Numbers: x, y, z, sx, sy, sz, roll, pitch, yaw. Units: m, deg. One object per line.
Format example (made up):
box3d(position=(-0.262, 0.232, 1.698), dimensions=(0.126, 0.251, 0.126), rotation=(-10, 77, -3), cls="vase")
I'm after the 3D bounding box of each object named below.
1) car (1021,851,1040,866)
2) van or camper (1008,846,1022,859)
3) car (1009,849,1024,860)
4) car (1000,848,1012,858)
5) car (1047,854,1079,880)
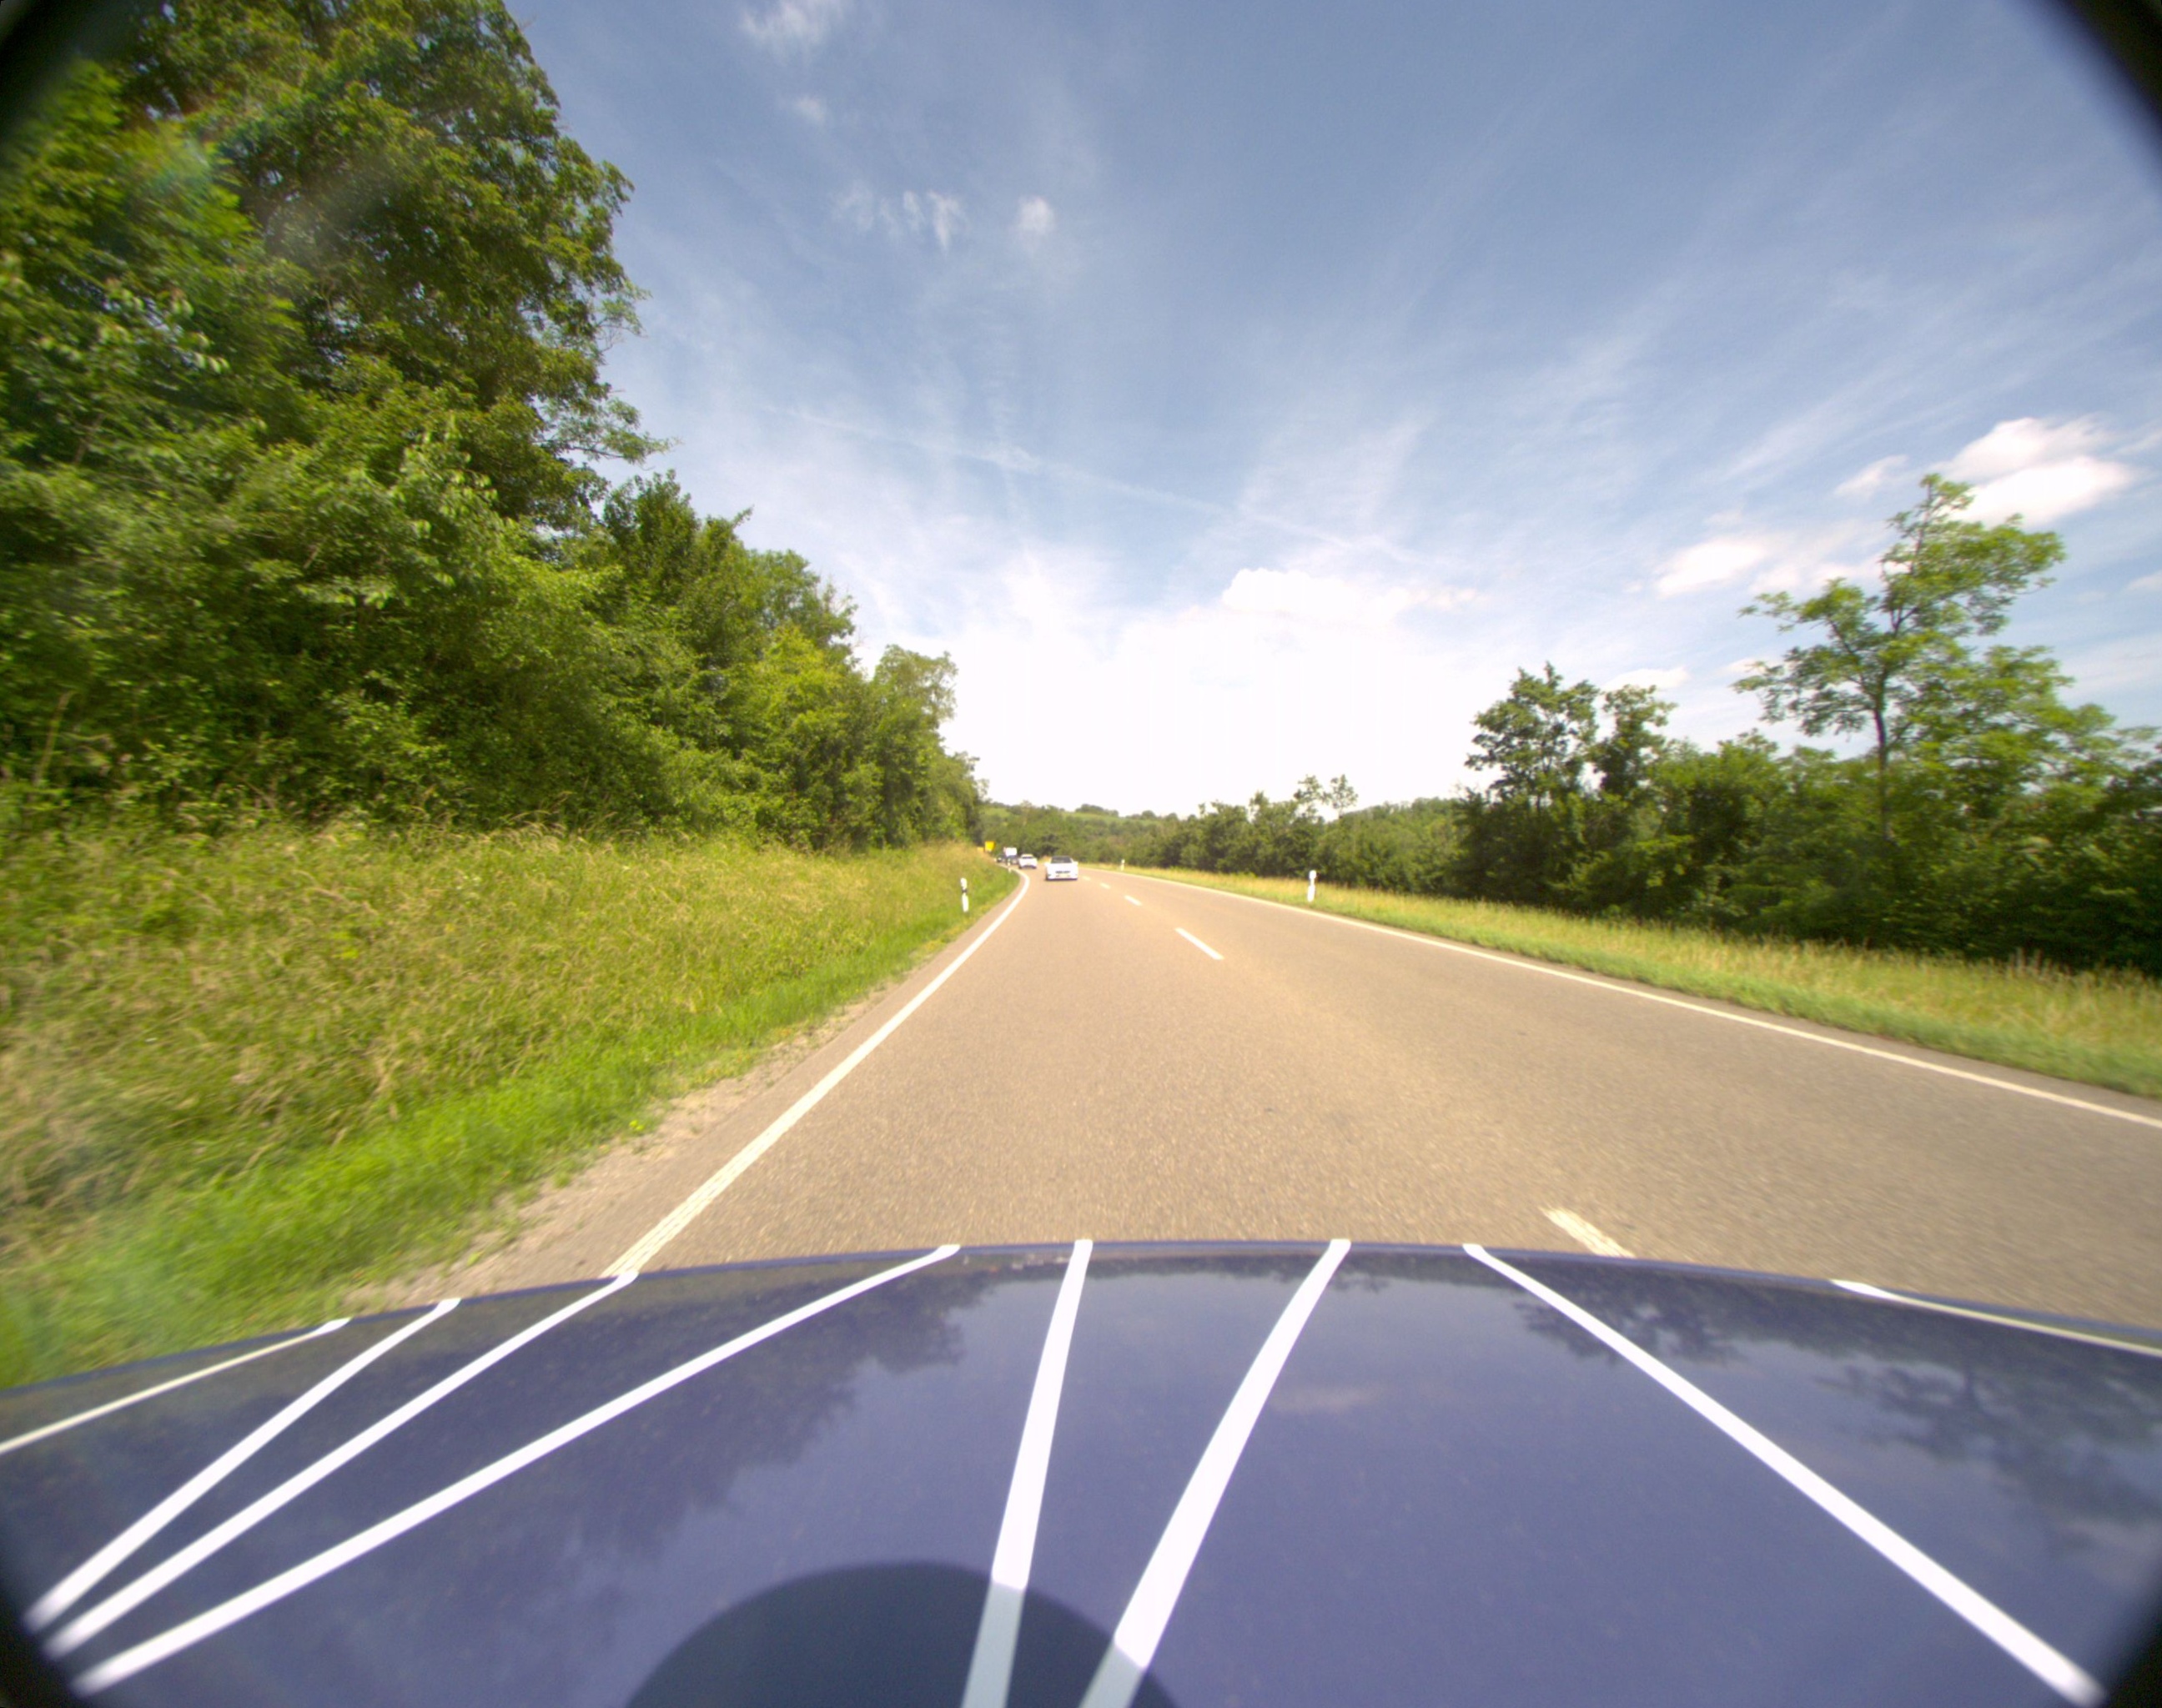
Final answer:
box3d(position=(-5.453, 0.504, 81.812), dimensions=(1.867, 1.480, 3.997), rotation=(-2, 1, -6), cls="car")
box3d(position=(-13.642, -0.271, 156.102), dimensions=(2.216, 2.513, 6.127), rotation=(-1, 1, -10), cls="van or camper")
box3d(position=(-9.113, 0.062, 107.221), dimensions=(1.826, 1.510, 3.996), rotation=(2, 0, -9), cls="car")
box3d(position=(-12.578, -0.183, 126.678), dimensions=(1.667, 1.641, 3.996), rotation=(2, 0, -10), cls="car")
box3d(position=(-1.141, 0.763, 46.430), dimensions=(1.773, 1.437, 3.999), rotation=(-2, 0, -3), cls="car")
